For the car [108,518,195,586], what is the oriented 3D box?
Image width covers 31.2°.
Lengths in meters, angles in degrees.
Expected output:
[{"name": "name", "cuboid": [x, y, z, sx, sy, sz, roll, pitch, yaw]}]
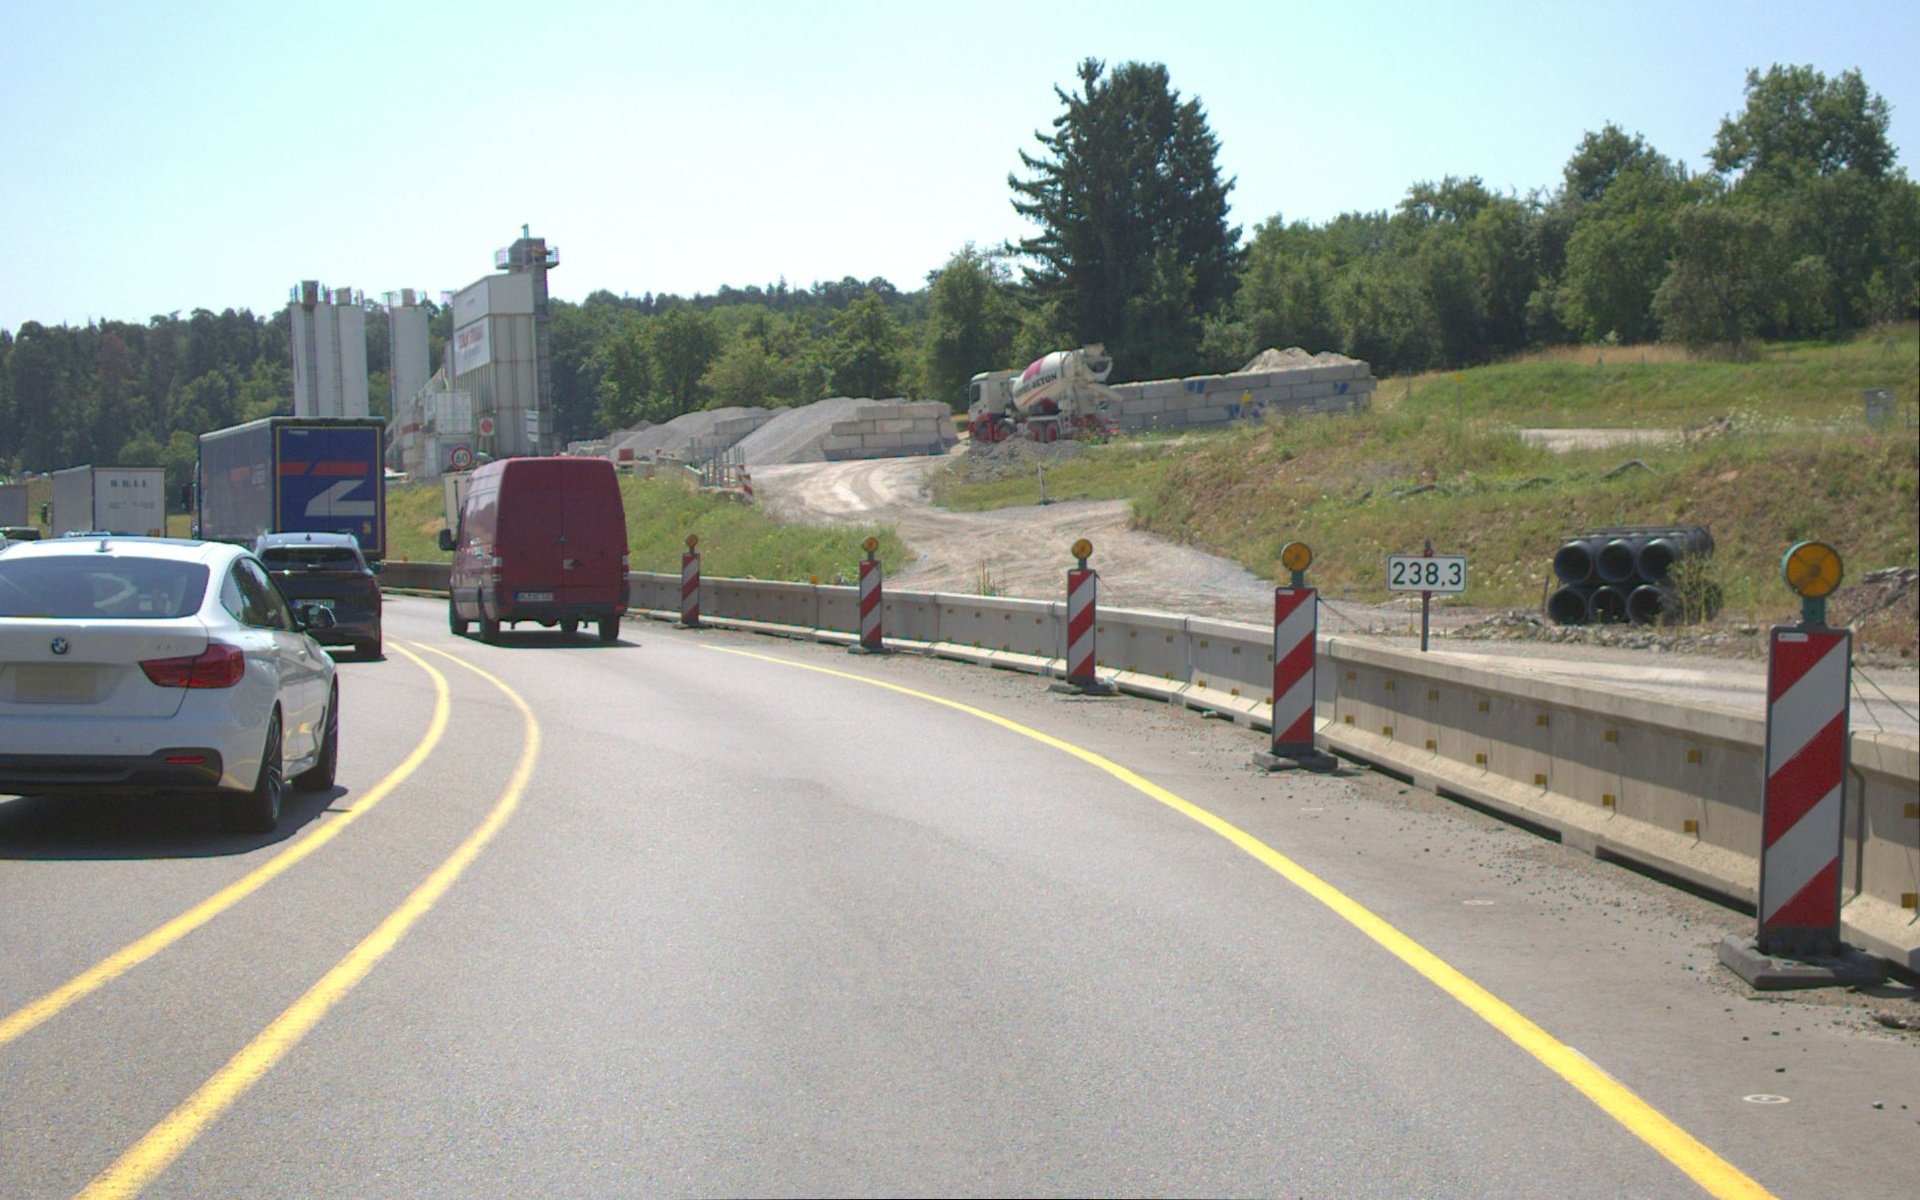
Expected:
[{"name": "car", "cuboid": [-19.642, -1.192, 83.423, 1.801, 1.574, 4.001, -2, 2, -16]}]

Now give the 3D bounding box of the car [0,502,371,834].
[{"name": "car", "cuboid": [-4.426, 0.253, 18.791, 1.795, 1.529, 5.074, 1, 2, -3]}]

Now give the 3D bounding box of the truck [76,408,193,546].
[{"name": "truck", "cuboid": [-29.631, -4.371, 123.153, 3.682, 4.675, 9.756, -2, 2, -15]}]

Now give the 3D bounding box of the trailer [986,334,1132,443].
[{"name": "trailer", "cuboid": [3.924, -8.433, 137.721, 2.756, 4.100, 6.746, -2, 2, -28]}]

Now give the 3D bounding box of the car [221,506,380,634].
[{"name": "car", "cuboid": [-8.416, -0.426, 44.135, 1.794, 1.529, 3.932, -2, 2, -8]}]

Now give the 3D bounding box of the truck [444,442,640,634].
[{"name": "truck", "cuboid": [-6.292, -0.956, 51.071, 2.111, 2.624, 6.486, -2, 2, -13]}]

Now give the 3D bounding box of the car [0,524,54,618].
[{"name": "car", "cuboid": [-17.531, -0.534, 62.097, 1.660, 1.600, 4.397, -2, 2, -7]}]

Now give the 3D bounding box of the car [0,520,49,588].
[{"name": "car", "cuboid": [-21.790, -1.063, 78.531, 1.668, 1.470, 3.971, -2, 2, -12]}]

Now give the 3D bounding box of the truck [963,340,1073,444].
[{"name": "truck", "cuboid": [2.348, -8.493, 140.656, 2.745, 4.081, 4.101, -2, 2, -29]}]

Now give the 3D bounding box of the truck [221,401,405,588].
[{"name": "truck", "cuboid": [-15.369, -2.477, 81.156, 3.015, 4.138, 8.275, -2, 2, -19]}]
